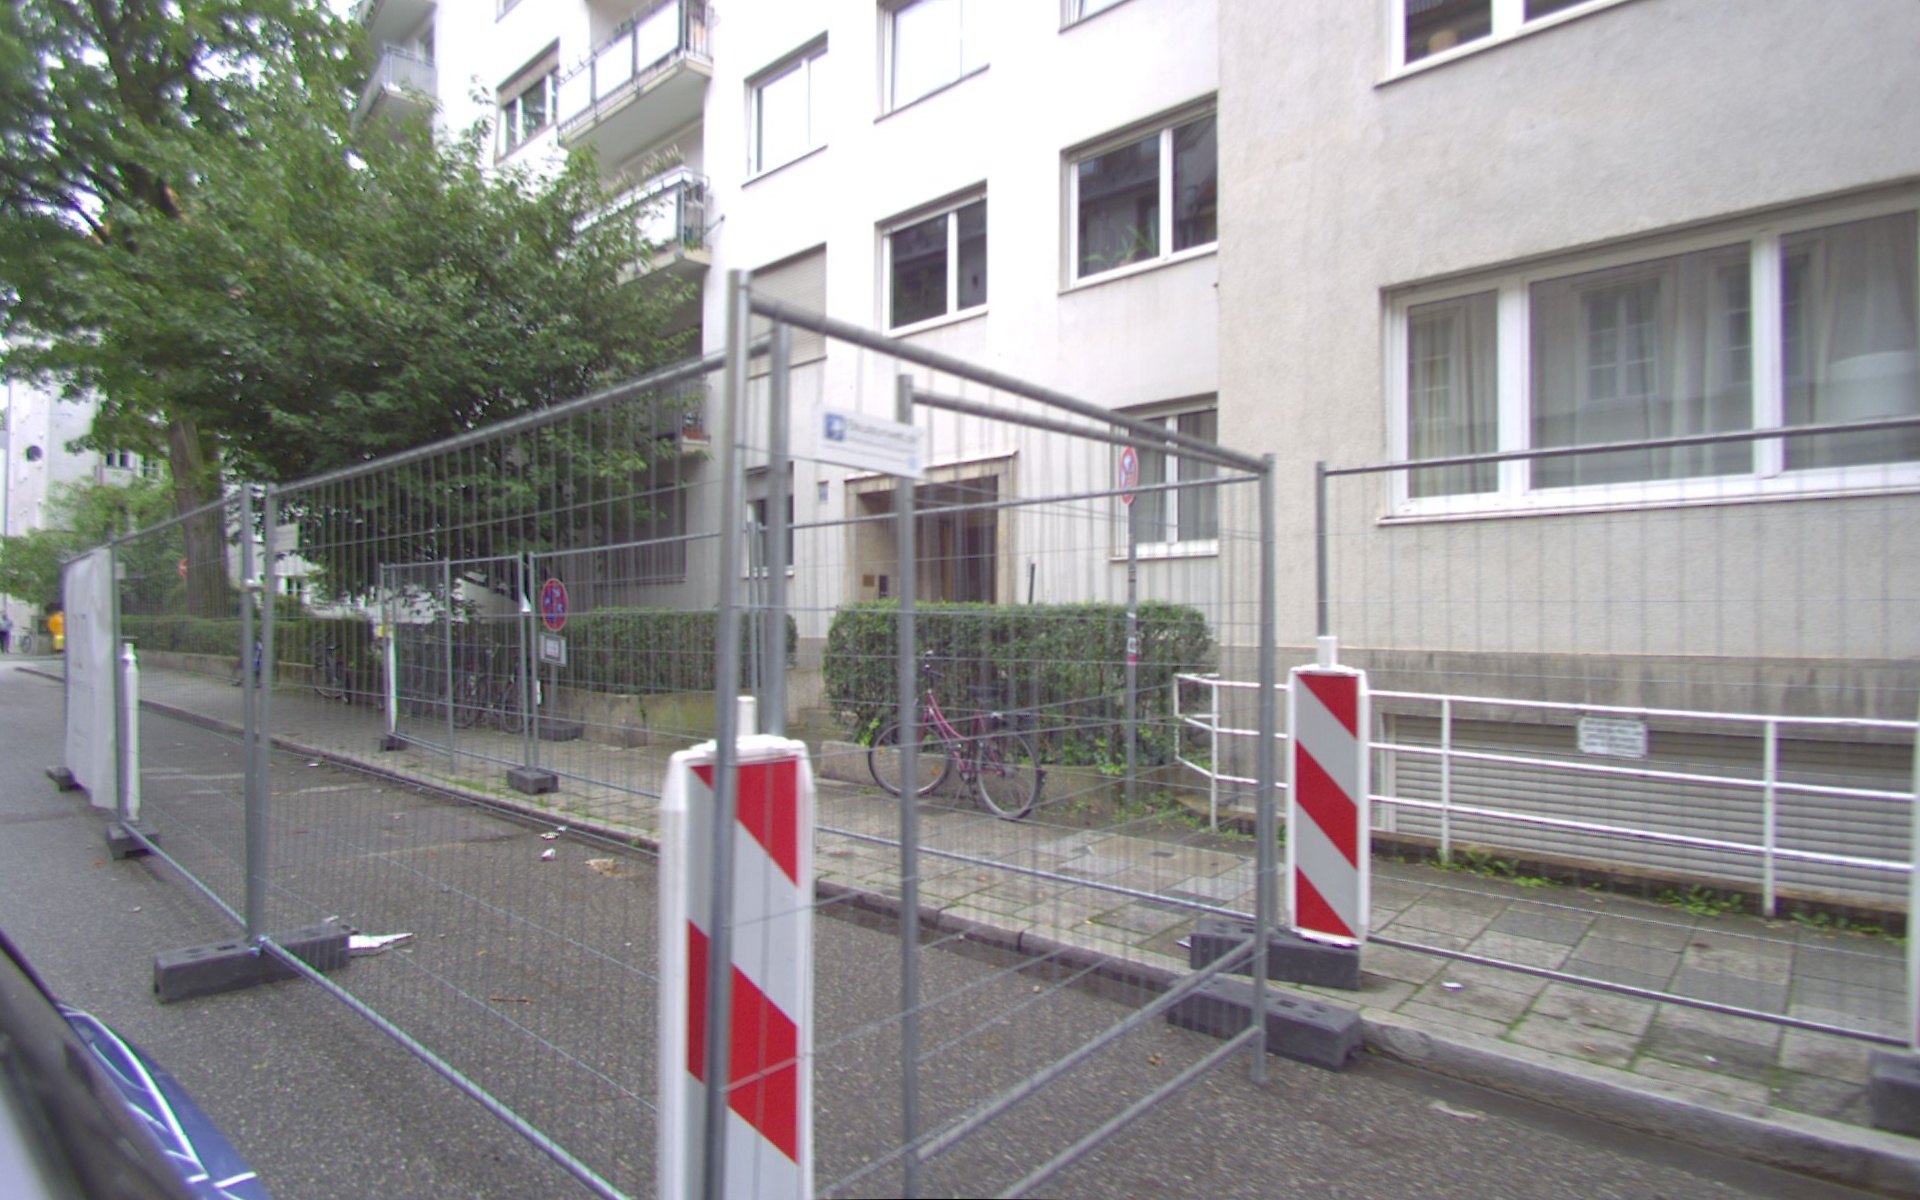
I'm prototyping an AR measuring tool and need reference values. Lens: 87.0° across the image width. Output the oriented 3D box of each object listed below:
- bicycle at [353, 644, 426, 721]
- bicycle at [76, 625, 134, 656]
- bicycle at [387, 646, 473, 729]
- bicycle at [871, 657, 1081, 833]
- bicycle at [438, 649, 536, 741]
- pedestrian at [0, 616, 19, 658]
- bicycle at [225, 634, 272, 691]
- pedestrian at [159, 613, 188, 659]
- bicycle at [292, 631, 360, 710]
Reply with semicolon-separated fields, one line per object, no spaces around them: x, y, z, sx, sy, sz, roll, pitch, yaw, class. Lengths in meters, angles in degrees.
-8.380;1.181;14.834;1.699;0.986;0.431;0;2;43;bicycle
-35.284;1.670;41.783;0.432;1.270;1.788;-1;-2;40;bicycle
-7.236;1.161;13.771;1.854;0.986;0.439;0;2;43;bicycle
0.074;0.981;7.240;1.597;1.071;0.373;-2;3;43;bicycle
-5.869;1.140;12.501;1.816;0.986;0.439;0;2;43;bicycle
-40.818;1.561;43.297;0.841;1.741;0.686;-1;2;42;pedestrian
-14.211;1.222;20.197;1.780;1.080;0.343;-1;1;42;bicycle
-29.996;1.374;38.581;0.859;1.690;0.682;-1;0;40;pedestrian
-10.287;1.109;16.401;1.699;1.160;0.483;0;1;43;bicycle
